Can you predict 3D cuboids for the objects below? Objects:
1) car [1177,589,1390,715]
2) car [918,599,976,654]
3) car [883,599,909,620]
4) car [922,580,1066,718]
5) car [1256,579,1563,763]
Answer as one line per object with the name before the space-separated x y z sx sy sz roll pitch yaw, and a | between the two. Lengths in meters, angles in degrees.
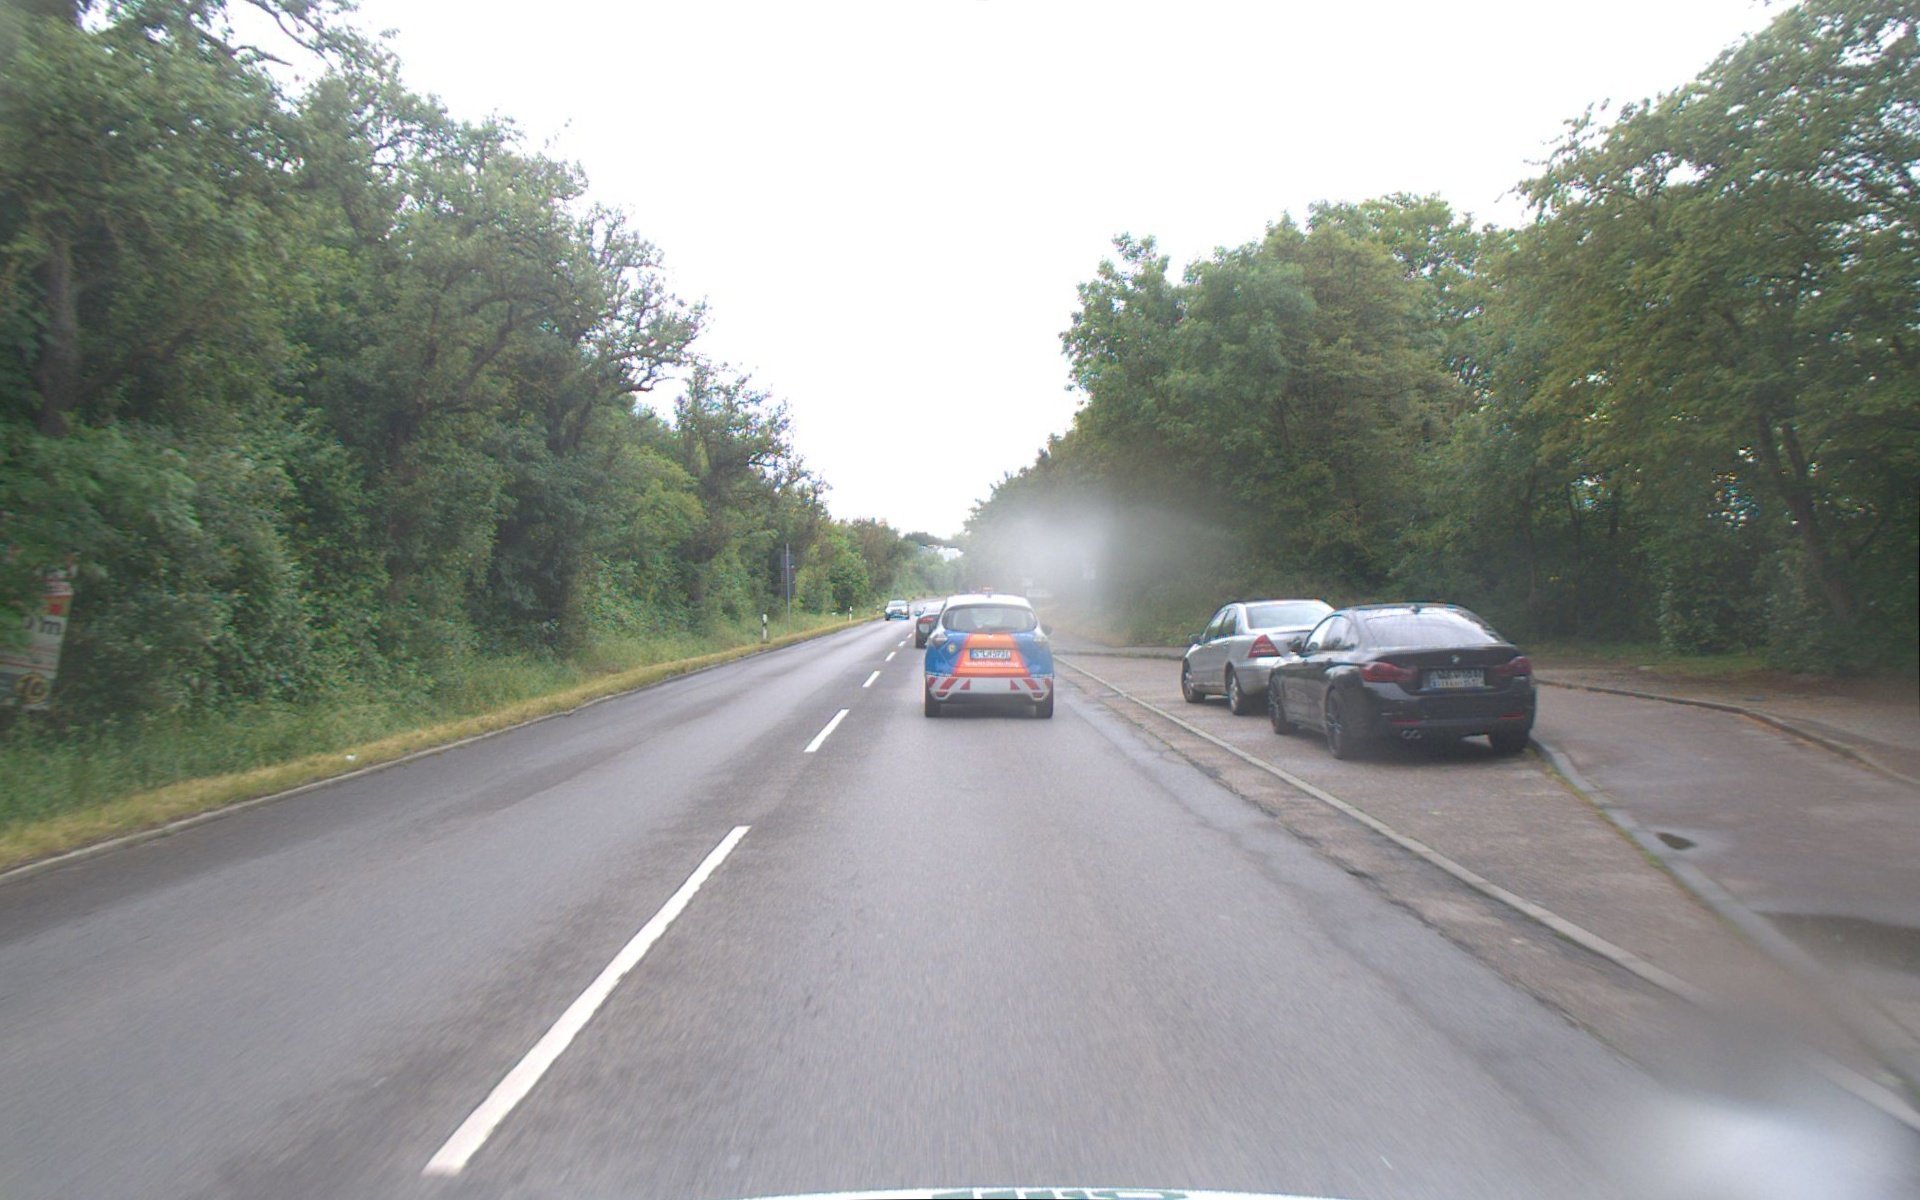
car | 4.294 0.665 22.623 1.710 1.494 4.216 -2 0 -5
car | -0.429 0.795 50.915 1.660 1.623 3.854 1 0 -2
car | -4.968 0.746 129.270 1.833 1.515 4.573 -4 0 -1
car | 0.400 0.626 22.599 1.769 1.697 3.855 1 0 -1
car | 4.420 0.647 17.053 1.769 1.536 4.666 -3 0 -1
